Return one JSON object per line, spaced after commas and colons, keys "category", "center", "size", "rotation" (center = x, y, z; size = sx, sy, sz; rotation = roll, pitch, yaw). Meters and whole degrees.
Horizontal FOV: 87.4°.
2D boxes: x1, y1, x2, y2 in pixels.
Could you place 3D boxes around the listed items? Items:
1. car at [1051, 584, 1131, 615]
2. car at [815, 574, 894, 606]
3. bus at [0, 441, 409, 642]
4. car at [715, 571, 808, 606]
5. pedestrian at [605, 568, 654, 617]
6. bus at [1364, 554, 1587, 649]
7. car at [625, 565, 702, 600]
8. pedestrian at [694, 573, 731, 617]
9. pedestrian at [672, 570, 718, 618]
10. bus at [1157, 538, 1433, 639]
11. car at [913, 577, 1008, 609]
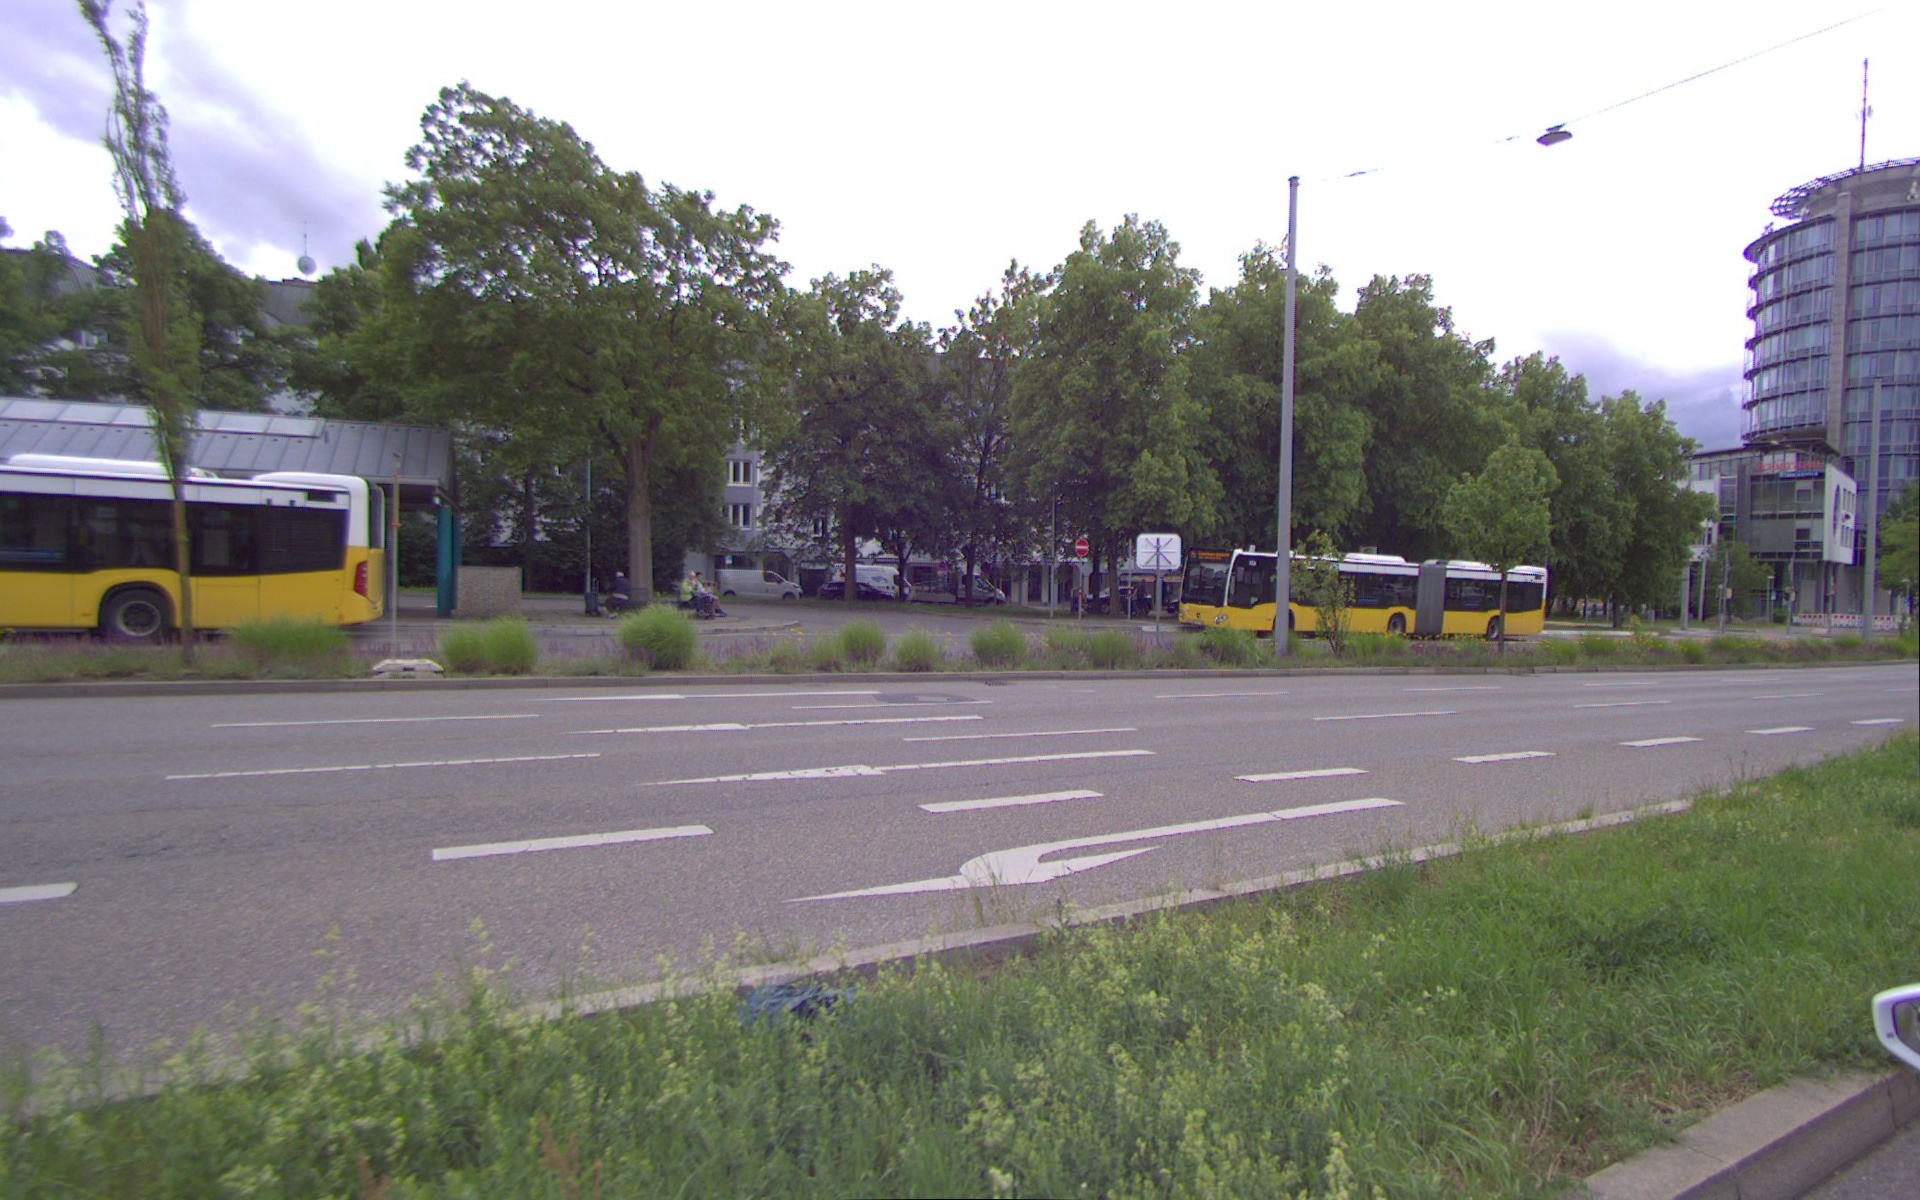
{"category": "car", "center": [7.489, -0.026, 57.442], "size": [4.194, 1.602, 1.985], "rotation": [2, 0, -28]}
{"category": "car", "center": [-6.054, -0.570, 57.696], "size": [4.160, 1.706, 1.992], "rotation": [2, 1, -18]}
{"category": "bus", "center": [-15.229, -1.030, 17.878], "size": [9.169, 3.174, 2.802], "rotation": [2, 3, -24]}
{"category": "car", "center": [-11.114, -0.635, 56.155], "size": [4.838, 1.746, 1.992], "rotation": [2, 1, -18]}
{"category": "pedestrian", "center": [-8.957, -0.195, 27.219], "size": [0.843, 1.271, 0.894], "rotation": [2, 1, 30]}
{"category": "bus", "center": [21.347, 0.101, 41.411], "size": [9.788, 3.502, 3.018], "rotation": [2, 2, -28]}
{"category": "car", "center": [-16.143, -0.949, 54.690], "size": [3.937, 1.706, 1.992], "rotation": [2, 1, -18]}
{"category": "pedestrian", "center": [-7.388, -0.154, 29.967], "size": [0.848, 1.271, 0.888], "rotation": [1, 1, -31]}
{"category": "pedestrian", "center": [-7.439, -0.156, 28.203], "size": [0.844, 1.307, 0.893], "rotation": [2, 1, 35]}
{"category": "bus", "center": [12.348, -0.339, 36.500], "size": [10.607, 3.205, 3.069], "rotation": [2, 2, -29]}
{"category": "car", "center": [0.030, -0.408, 59.585], "size": [5.308, 1.670, 1.995], "rotation": [2, 0, -12]}
